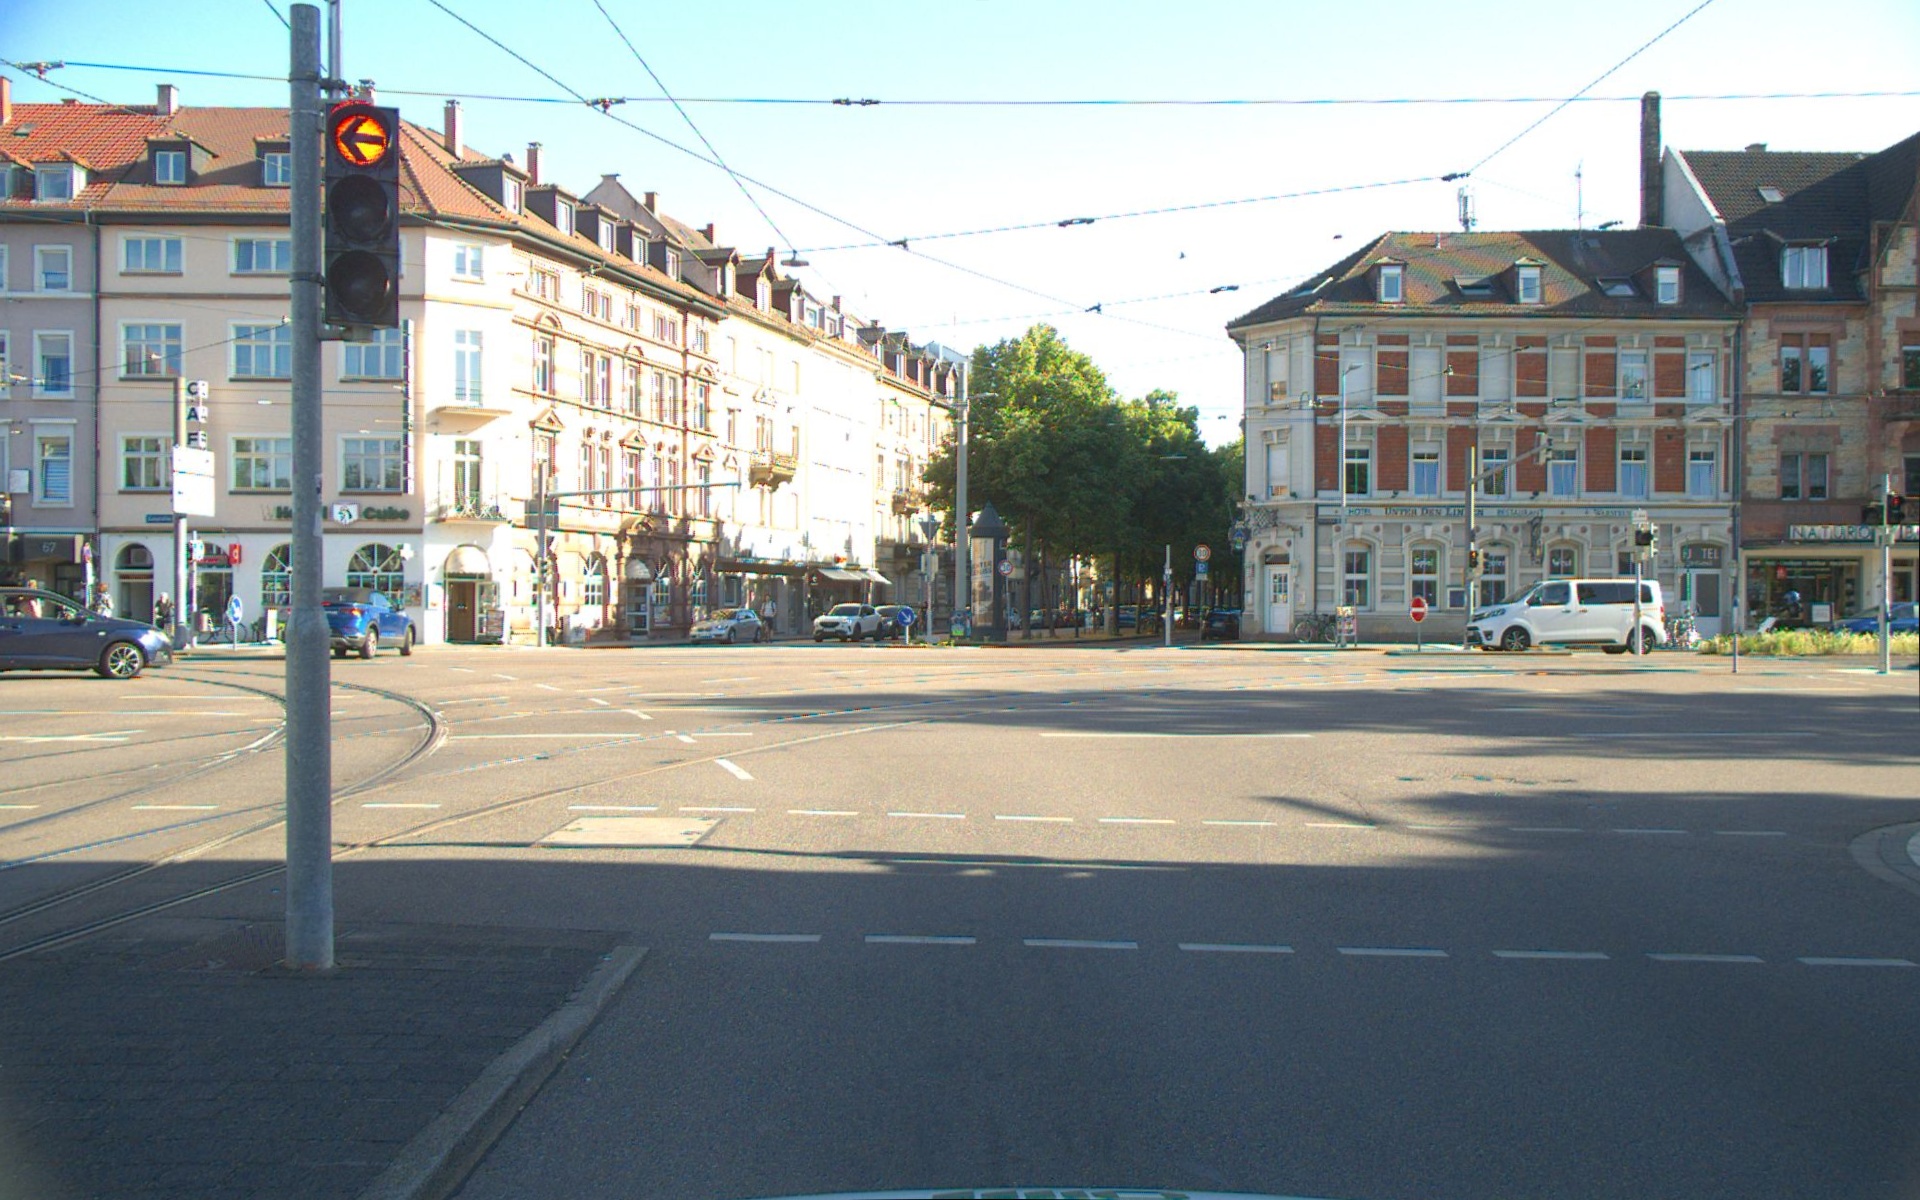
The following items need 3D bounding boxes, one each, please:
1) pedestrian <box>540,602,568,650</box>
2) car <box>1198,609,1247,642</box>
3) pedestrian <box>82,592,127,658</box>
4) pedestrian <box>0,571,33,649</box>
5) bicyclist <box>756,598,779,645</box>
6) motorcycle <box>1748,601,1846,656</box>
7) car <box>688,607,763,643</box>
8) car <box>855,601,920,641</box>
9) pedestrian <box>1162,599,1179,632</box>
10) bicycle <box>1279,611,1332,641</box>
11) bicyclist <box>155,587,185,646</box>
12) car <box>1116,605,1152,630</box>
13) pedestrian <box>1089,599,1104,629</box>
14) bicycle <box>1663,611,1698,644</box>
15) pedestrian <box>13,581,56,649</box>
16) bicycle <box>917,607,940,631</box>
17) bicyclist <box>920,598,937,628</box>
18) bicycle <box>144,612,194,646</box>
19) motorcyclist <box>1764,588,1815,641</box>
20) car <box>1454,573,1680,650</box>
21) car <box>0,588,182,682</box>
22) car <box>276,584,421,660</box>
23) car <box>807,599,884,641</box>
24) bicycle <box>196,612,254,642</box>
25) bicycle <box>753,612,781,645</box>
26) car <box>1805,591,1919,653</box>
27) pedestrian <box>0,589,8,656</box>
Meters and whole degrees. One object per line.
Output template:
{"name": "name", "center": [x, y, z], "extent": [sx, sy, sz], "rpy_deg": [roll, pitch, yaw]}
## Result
{"name": "pedestrian", "center": [-14.486, 0.925, 59.027], "extent": [0.556, 1.671, 0.792], "rpy_deg": [1, -1, 22]}
{"name": "car", "center": [13.144, 1.267, 82.674], "extent": [1.719, 1.583, 4.001], "rpy_deg": [1, 0, 20]}
{"name": "pedestrian", "center": [-21.241, 0.620, 41.079], "extent": [0.655, 1.622, 0.815], "rpy_deg": [1, -1, -1]}
{"name": "pedestrian", "center": [-22.913, 0.238, 40.037], "extent": [0.516, 1.854, 0.676], "rpy_deg": [1, -1, -1]}
{"name": "bicyclist", "center": [-7.562, 0.832, 64.961], "extent": [0.553, 1.835, 0.915], "rpy_deg": [1, -1, 14]}
{"name": "motorcycle", "center": [21.396, 0.725, 42.334], "extent": [2.090, 1.357, 0.797], "rpy_deg": [1, 0, 12]}
{"name": "car", "center": [-9.455, 0.985, 66.918], "extent": [1.624, 1.398, 3.894], "rpy_deg": [1, 0, 14]}
{"name": "car", "center": [-3.191, 0.928, 73.551], "extent": [1.786, 1.715, 3.877], "rpy_deg": [1, 0, 16]}
{"name": "pedestrian", "center": [13.061, 0.956, 102.649], "extent": [0.941, 2.049, 0.918], "rpy_deg": [1, -1, 0]}
{"name": "bicycle", "center": [11.978, 0.899, 57.288], "extent": [1.764, 0.979, 0.604], "rpy_deg": [1, 0, 14]}
{"name": "bicyclist", "center": [-24.818, 0.508, 51.956], "extent": [0.608, 1.822, 0.615], "rpy_deg": [1, -1, 4]}
{"name": "car", "center": [12.323, 1.218, 116.780], "extent": [1.951, 1.713, 4.003], "rpy_deg": [1, 0, 15]}
{"name": "pedestrian", "center": [9.320, 0.967, 112.881], "extent": [0.923, 2.049, 0.827], "rpy_deg": [1, -1, 13]}
{"name": "bicycle", "center": [23.287, 0.895, 53.495], "extent": [0.775, 1.033, 2.211], "rpy_deg": [1, 0, 17]}
{"name": "pedestrian", "center": [-22.945, 0.374, 41.029], "extent": [0.571, 1.677, 0.840], "rpy_deg": [1, -1, -1]}
{"name": "bicycle", "center": [-1.682, 1.017, 88.068], "extent": [0.659, 1.228, 1.822], "rpy_deg": [1, 0, 17]}
{"name": "bicyclist", "center": [-1.677, 0.682, 88.073], "extent": [0.659, 1.595, 0.748], "rpy_deg": [1, -1, 17]}
{"name": "bicycle", "center": [-24.827, 0.908, 51.955], "extent": [0.608, 1.048, 1.755], "rpy_deg": [1, 0, 4]}
{"name": "motorcyclist", "center": [21.249, 0.366, 42.372], "extent": [0.993, 1.323, 0.790], "rpy_deg": [1, 0, 12]}
{"name": "car", "center": [15.592, 0.286, 42.672], "extent": [5.092, 1.886, 2.000], "rpy_deg": [0, 0, 0]}
{"name": "car", "center": [-14.629, 0.529, 26.262], "extent": [3.950, 1.428, 1.811], "rpy_deg": [0, 0, -33]}
{"name": "car", "center": [-13.581, 0.457, 36.991], "extent": [1.788, 1.602, 4.197], "rpy_deg": [0, 0, -2]}
{"name": "car", "center": [-4.606, 0.803, 67.192], "extent": [1.764, 1.613, 4.162], "rpy_deg": [1, 0, 16]}
{"name": "bicycle", "center": [-25.097, 0.916, 56.507], "extent": [1.666, 1.000, 0.611], "rpy_deg": [1, 0, -1]}
{"name": "bicycle", "center": [-7.579, 1.102, 64.870], "extent": [0.553, 1.276, 1.558], "rpy_deg": [1, 0, 14]}
{"name": "car", "center": [25.918, 0.627, 46.030], "extent": [3.905, 1.650, 1.804], "rpy_deg": [1, 0, 0]}
{"name": "pedestrian", "center": [-24.357, 0.566, 41.436], "extent": [0.561, 1.677, 0.727], "rpy_deg": [1, -1, -1]}
